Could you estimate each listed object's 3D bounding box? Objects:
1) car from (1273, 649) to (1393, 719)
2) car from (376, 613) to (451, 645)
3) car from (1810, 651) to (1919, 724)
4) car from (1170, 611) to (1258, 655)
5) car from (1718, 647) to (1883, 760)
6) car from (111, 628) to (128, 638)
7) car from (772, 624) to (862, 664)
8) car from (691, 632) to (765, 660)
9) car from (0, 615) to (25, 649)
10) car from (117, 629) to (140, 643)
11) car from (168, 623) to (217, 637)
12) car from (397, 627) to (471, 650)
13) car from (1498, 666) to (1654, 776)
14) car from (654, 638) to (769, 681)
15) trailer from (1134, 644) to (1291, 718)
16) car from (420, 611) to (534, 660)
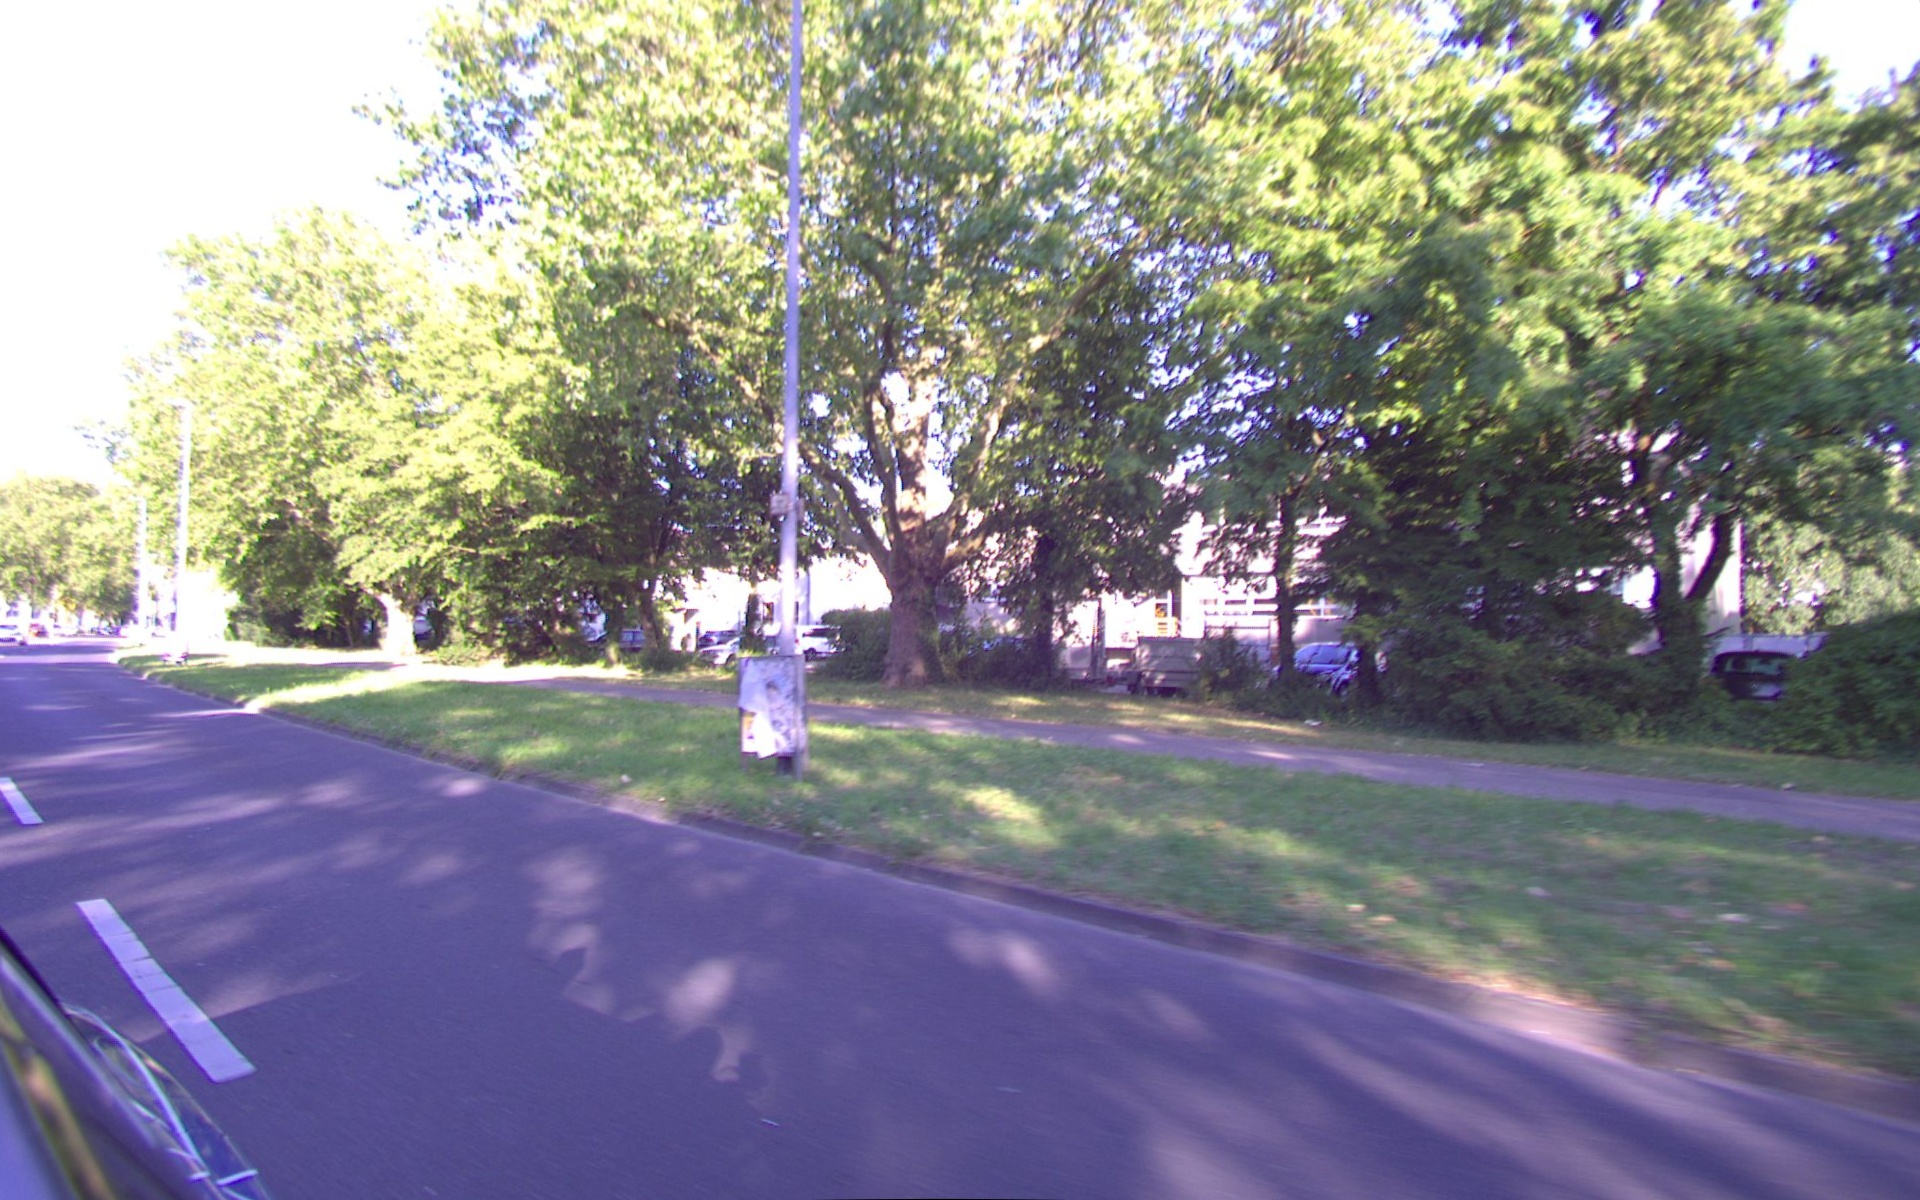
[{"bbox_3d":[8.223,1.797,22.166,1.517,1.375,3.354,-1,-3,38],"label":"car"},{"bbox_3d":[-36.267,1.961,67.235,1.908,2.060,3.944,-4,-5,42],"label":"car"},{"bbox_3d":[22.876,2.165,25.600,1.927,1.645,3.948,-1,-3,38],"label":"car"},{"bbox_3d":[10.115,1.336,40.152,1.927,1.614,3.948,-1,-4,38],"label":"car"},{"bbox_3d":[14.042,1.657,17.093,1.927,1.614,3.949,-1,-3,38],"label":"car"},{"bbox_3d":[-151.797,5.989,182.748,1.871,1.602,4.080,4,-4,-34],"label":"car"},{"bbox_3d":[-7.613,2.355,54.205,1.999,2.029,4.496,-1,-3,42],"label":"car"},{"bbox_3d":[-14.200,2.834,62.083,3.940,1.564,1.926,4,-4,-44],"label":"car"},{"bbox_3d":[-59.943,1.970,63.357,1.906,2.029,4.006,3,-3,-41],"label":"car"},{"bbox_3d":[-91.071,3.912,110.901,1.738,1.495,4.117,1,-2,-37],"label":"car"},{"bbox_3d":[-80.664,3.157,106.412,3.933,1.429,1.919,2,-4,-35],"label":"car"},{"bbox_3d":[-33.833,2.477,65.169,3.883,1.392,1.694,4,-4,-44],"label":"car"},{"bbox_3d":[10.899,2.008,17.781,1.927,1.614,3.949,0,-3,38],"label":"car"},{"bbox_3d":[-8.941,2.154,36.640,1.765,1.475,3.692,-1,-4,40],"label":"car"},{"bbox_3d":[6.019,1.863,23.841,1.999,1.567,3.944,-2,-4,42],"label":"trailer"},{"bbox_3d":[-27.431,2.066,57.632,5.365,2.521,2.189,6,-5,-42],"label":"car"}]
